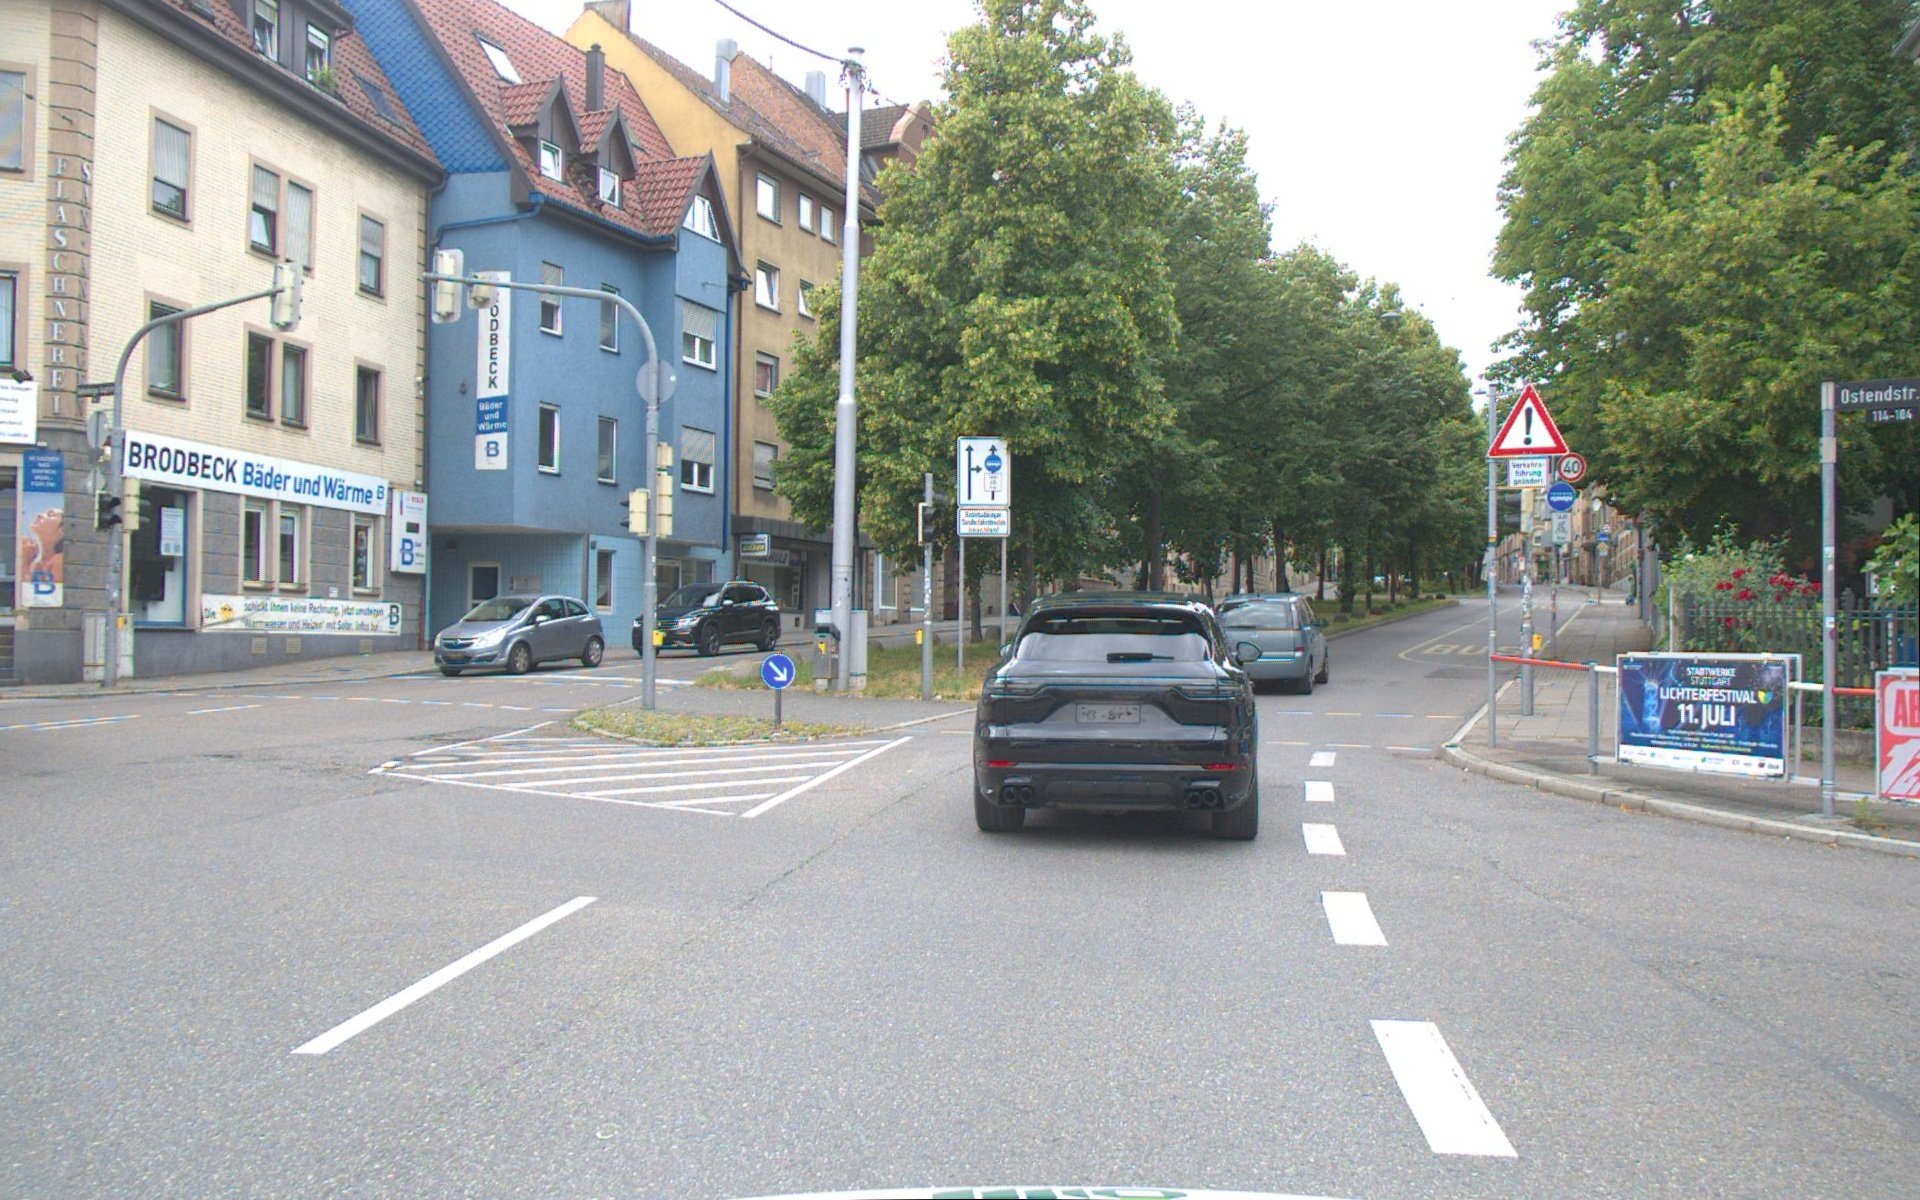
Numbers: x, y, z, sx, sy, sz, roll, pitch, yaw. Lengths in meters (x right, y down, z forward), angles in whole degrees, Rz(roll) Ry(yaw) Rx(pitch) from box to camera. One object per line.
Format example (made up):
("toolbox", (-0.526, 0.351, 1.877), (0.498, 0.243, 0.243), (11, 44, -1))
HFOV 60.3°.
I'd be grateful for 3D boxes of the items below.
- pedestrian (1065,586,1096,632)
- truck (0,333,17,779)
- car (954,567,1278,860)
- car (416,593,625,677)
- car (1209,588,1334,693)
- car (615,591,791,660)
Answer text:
("pedestrian", (5.442, 0.393, 74.817), (1.167, 2.049, 0.989), (1, 0, 20))
("truck", (-11.304, -0.432, 15.794), (2.707, 3.606, 8.304), (1, 0, -39))
("car", (1.319, 0.720, 12.651), (1.988, 1.753, 4.503), (2, 0, 9))
("car", (-8.315, 0.644, 31.660), (1.681, 1.502, 4.218), (-1, -1, 22))
("car", (5.300, 0.669, 27.817), (1.614, 1.583, 3.584), (2, -1, 17))
("car", (-5.862, 0.537, 38.365), (1.832, 1.440, 4.697), (0, 1, 23))
